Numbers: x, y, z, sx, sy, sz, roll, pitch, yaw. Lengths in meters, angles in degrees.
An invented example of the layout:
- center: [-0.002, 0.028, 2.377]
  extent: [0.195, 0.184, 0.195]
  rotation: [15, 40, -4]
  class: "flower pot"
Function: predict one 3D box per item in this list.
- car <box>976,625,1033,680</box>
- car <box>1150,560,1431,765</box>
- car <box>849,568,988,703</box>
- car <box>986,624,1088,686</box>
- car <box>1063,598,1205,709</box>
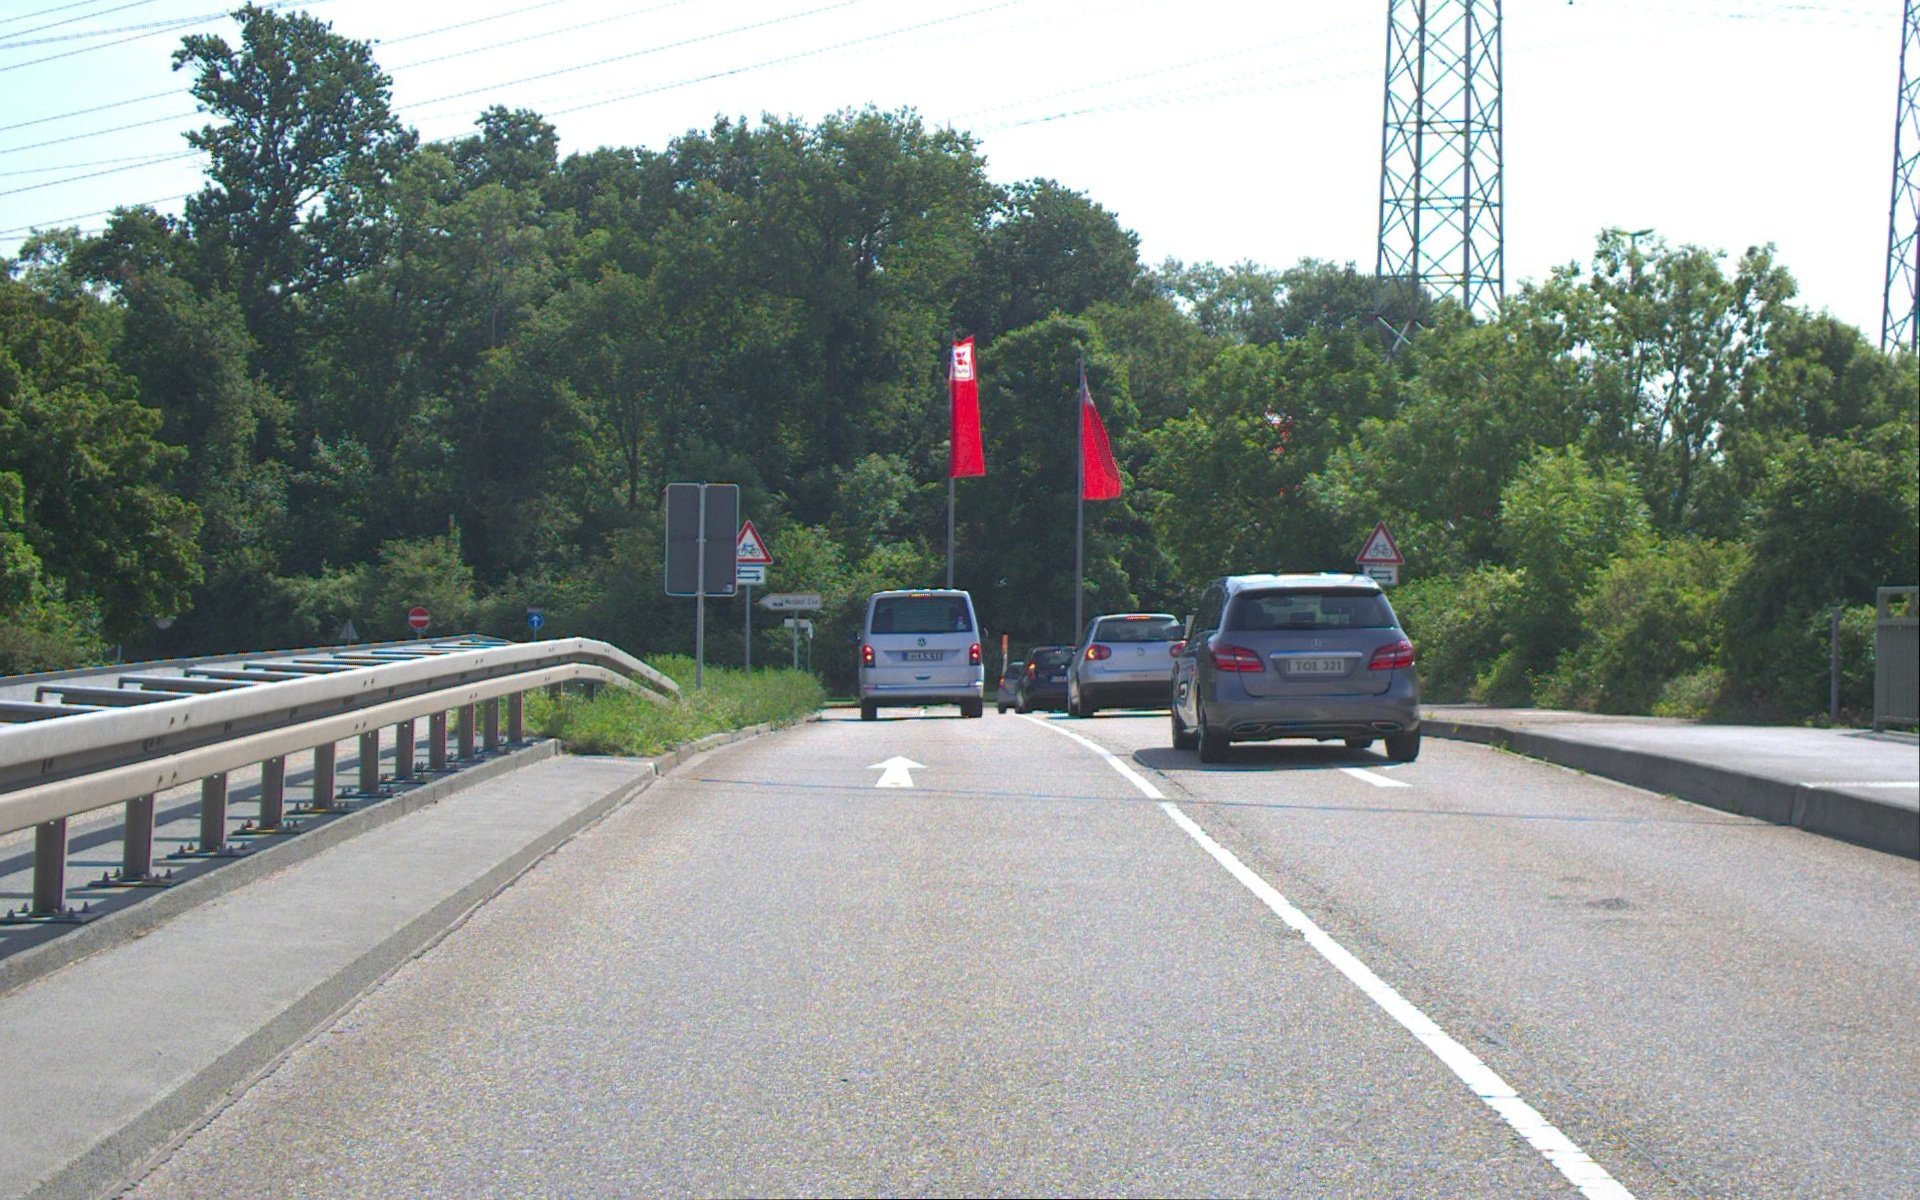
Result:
- center: [1.274, 1.525, 99.158]
  extent: [1.549, 1.548, 3.554]
  rotation: [0, -1, -1]
  class: "car"
- center: [2.703, 0.466, 28.985]
  extent: [1.856, 1.524, 4.144]
  rotation: [-1, 2, -2]
  class: "car"
- center: [-0.679, 0.525, 53.086]
  extent: [2.039, 2.007, 4.000]
  rotation: [0, 0, -2]
  class: "car"
- center: [1.738, 1.223, 76.335]
  extent: [1.774, 1.327, 3.739]
  rotation: [0, -1, 9]
  class: "car"
- center: [2.481, 0.798, 49.889]
  extent: [1.856, 1.524, 4.143]
  rotation: [0, -1, 0]
  class: "car"
